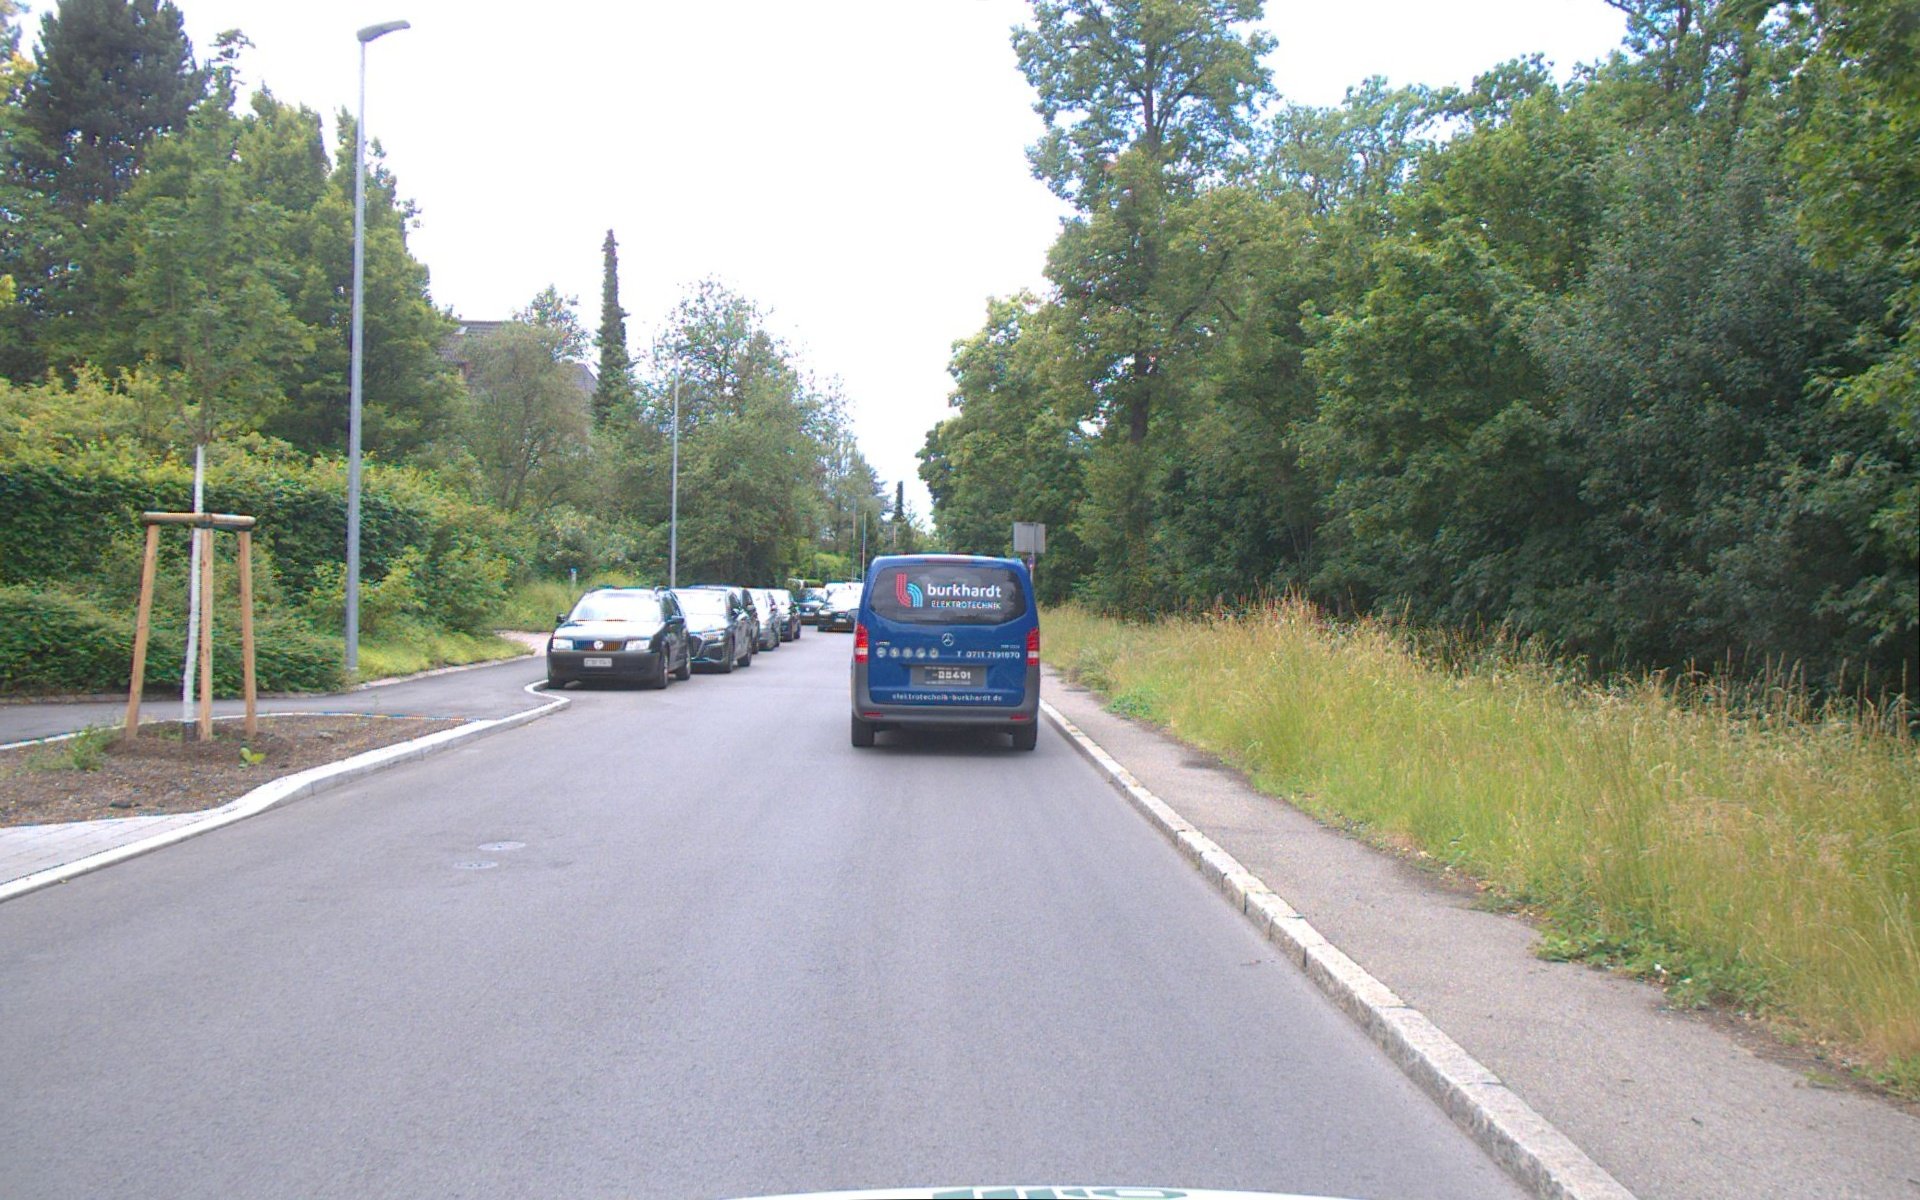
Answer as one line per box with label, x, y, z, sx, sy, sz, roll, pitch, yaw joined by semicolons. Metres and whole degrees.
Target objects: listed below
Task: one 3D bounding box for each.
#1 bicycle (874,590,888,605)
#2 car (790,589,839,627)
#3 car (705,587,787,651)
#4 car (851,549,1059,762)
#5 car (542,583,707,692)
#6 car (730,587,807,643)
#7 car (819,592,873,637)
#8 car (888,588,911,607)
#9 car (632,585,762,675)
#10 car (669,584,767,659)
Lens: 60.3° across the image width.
bicycle;-7.367;-0.229;154.485;0.887;1.273;2.916;4;0;2
car;-5.895;0.307;67.221;1.589;1.475;3.969;1;0;1
car;-5.198;0.426;40.526;1.591;1.457;4.349;1;0;-2
car;-0.157;0.455;17.263;1.851;1.876;3.998;3;2;-3
car;-5.043;0.513;25.442;1.648;1.508;4.692;1;0;-1
car;-5.385;0.393;47.011;1.742;1.457;5.103;2;0;-2
car;-4.002;0.490;58.637;1.744;1.451;4.487;2;0;-2
car;-5.720;-0.241;157.379;1.798;1.659;4.302;4;0;2
car;-4.747;0.498;30.421;1.671;1.508;4.495;1;0;-1
car;-5.156;0.433;35.633;1.591;1.508;3.999;1;0;-1
